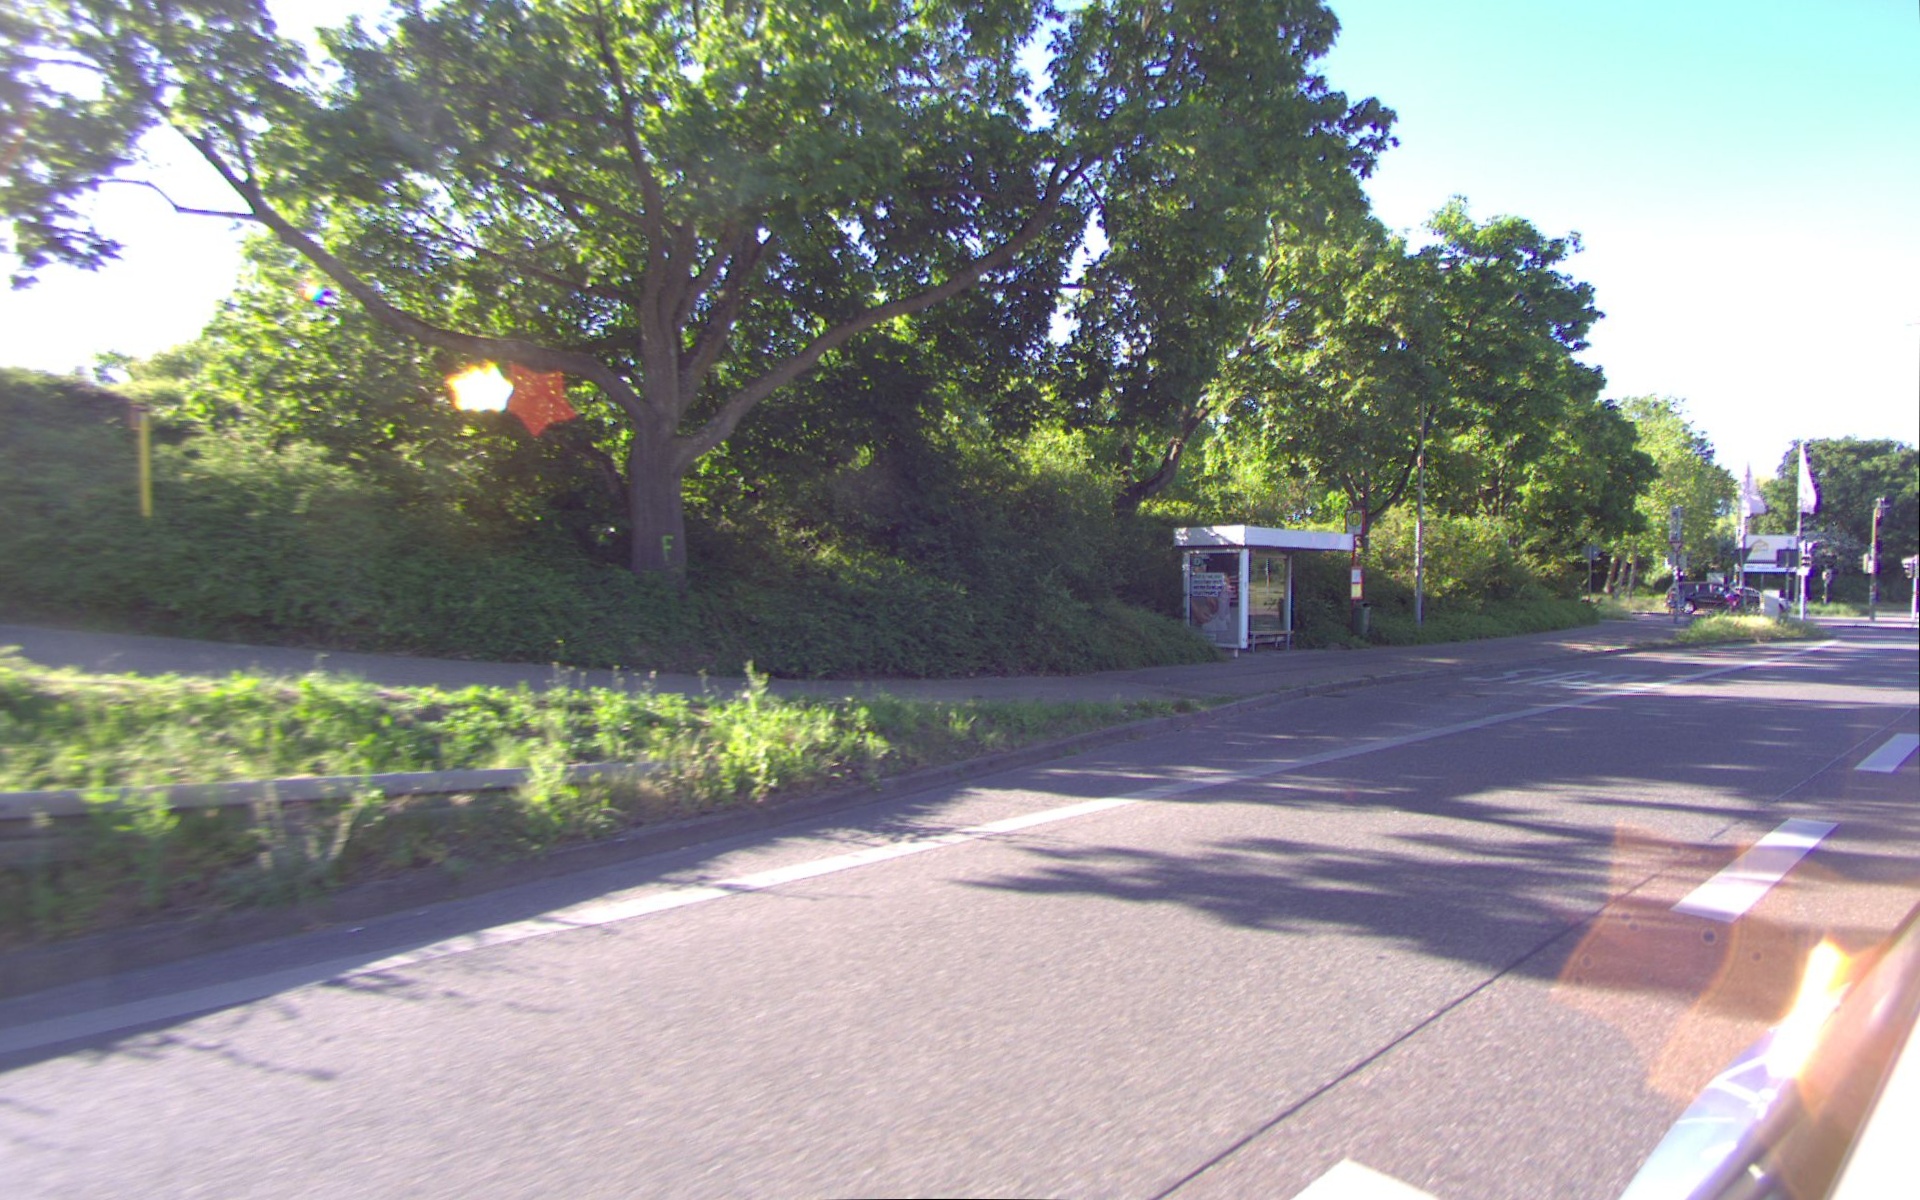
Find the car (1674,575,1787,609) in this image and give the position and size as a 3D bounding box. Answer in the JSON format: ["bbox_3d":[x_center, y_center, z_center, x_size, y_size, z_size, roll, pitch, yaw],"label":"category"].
[{"bbox_3d":[41.484,-0.457,54.614,4.617,1.748,1.887,1,1,32],"label":"car"}]

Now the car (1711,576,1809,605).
[{"bbox_3d":[44.930,-0.563,56.947,4.058,1.558,1.754,1,1,31],"label":"car"}]

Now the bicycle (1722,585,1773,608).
[{"bbox_3d":[40.030,-0.178,51.487,2.005,1.105,0.755,2,2,39],"label":"bicycle"}]

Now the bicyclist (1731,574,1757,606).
[{"bbox_3d":[39.933,-0.530,51.562,0.976,1.577,0.751,2,2,39],"label":"bicyclist"}]
